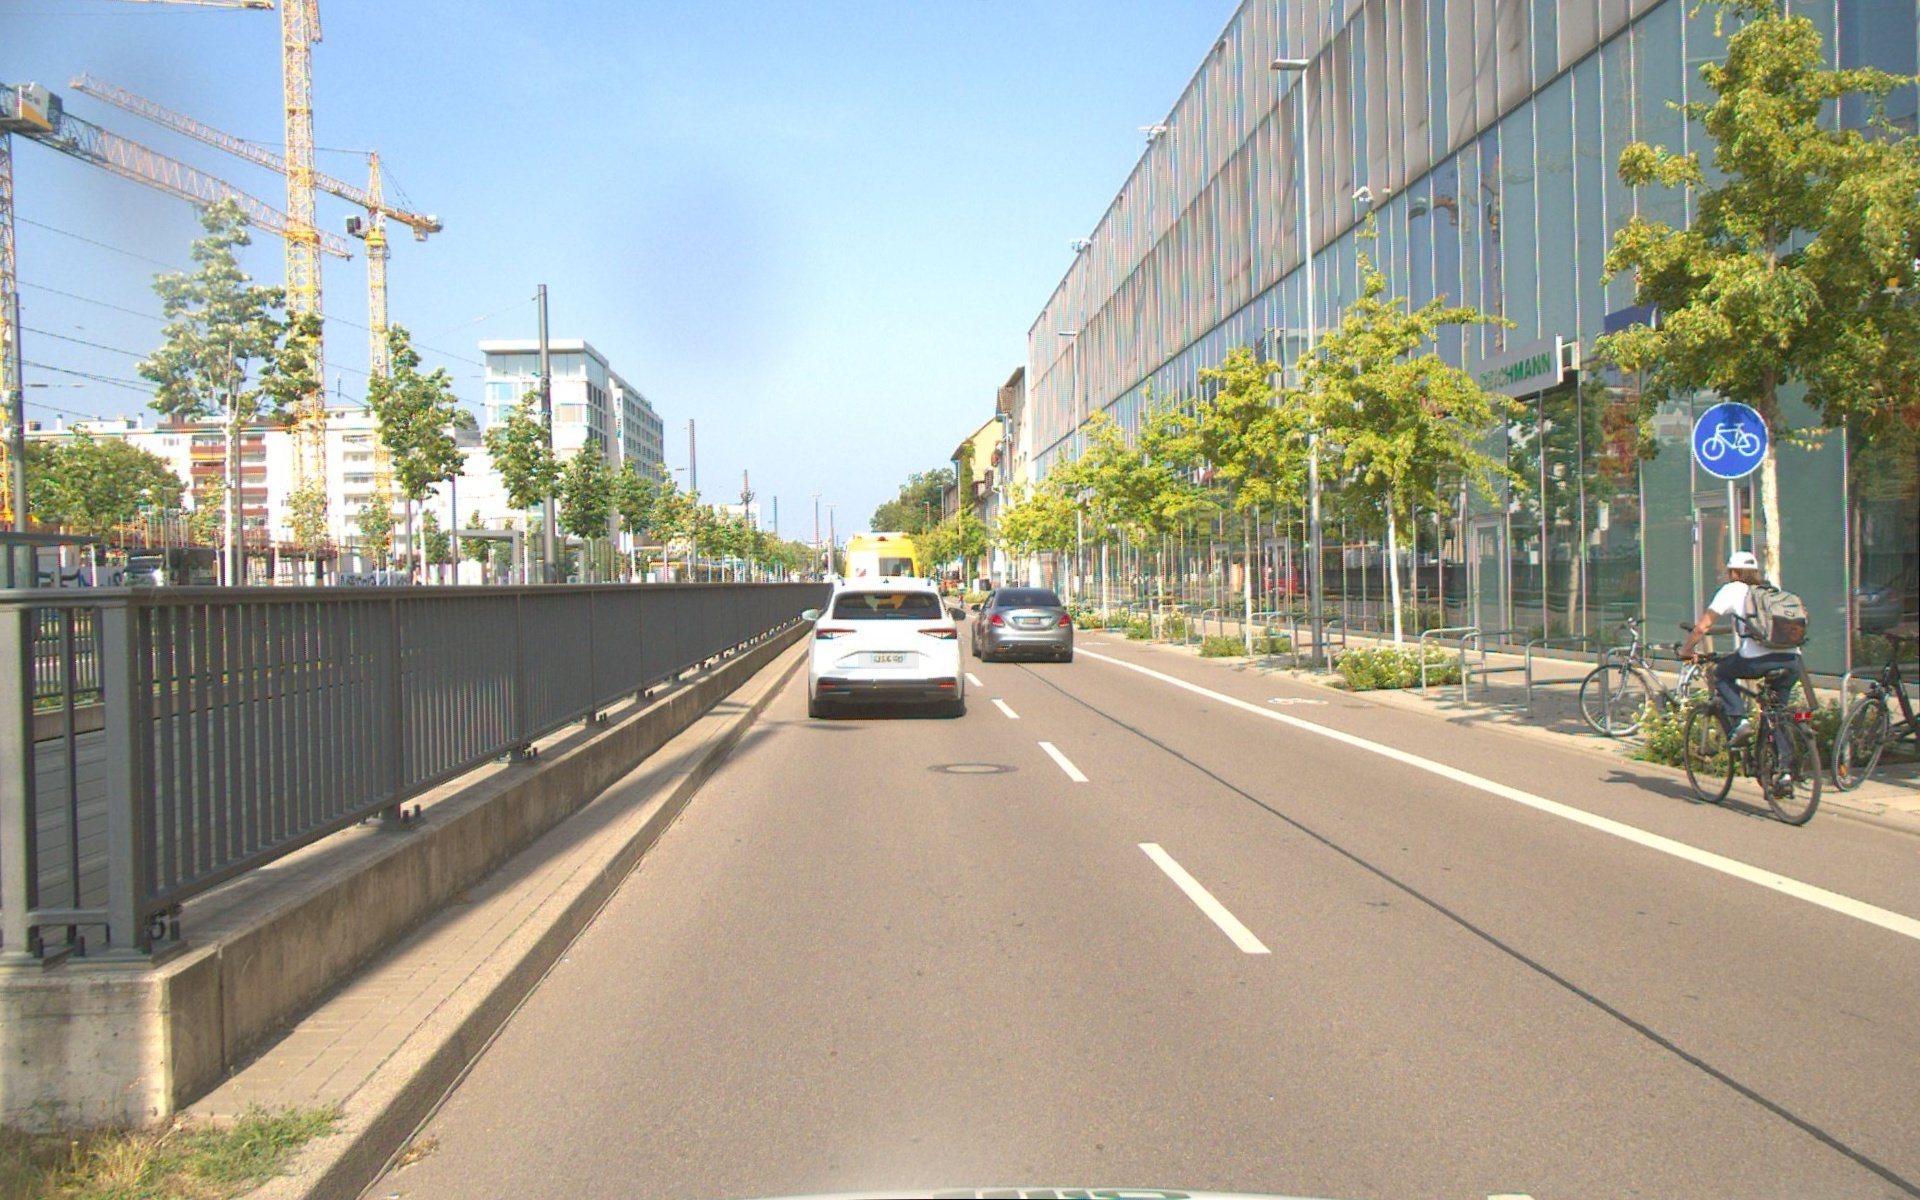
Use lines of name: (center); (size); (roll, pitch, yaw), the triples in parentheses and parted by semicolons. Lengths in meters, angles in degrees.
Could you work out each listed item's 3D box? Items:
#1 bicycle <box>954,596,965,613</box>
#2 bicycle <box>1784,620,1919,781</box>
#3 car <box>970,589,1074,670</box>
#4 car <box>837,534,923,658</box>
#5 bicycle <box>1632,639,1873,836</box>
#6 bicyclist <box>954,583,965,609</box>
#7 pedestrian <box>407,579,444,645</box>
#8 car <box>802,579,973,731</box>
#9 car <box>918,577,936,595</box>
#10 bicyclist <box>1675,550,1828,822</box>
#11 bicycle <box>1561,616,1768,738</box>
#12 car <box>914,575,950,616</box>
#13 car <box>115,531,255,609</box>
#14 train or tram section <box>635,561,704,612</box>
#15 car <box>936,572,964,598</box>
bicycle: (-0.032, 0.271, 102.055); (0.642, 0.955, 1.517); (-1, 1, -1)
bicycle: (7.156, 0.728, 12.225); (1.802, 1.132, 0.687); (0, 1, -1)
car: (1.168, 0.541, 32.861); (1.725, 1.461, 4.113); (0, 1, -3)
car: (-2.025, -0.199, 41.926); (1.980, 2.844, 5.399); (-1, 3, -3)
bicycle: (5.406, 0.888, 11.436); (0.647, 1.137, 2.051); (-2, 1, -1)
bicyclist: (-0.033, -0.245, 101.906); (0.626, 1.604, 0.771); (-1, 1, -1)
pedestrian: (-13.579, 0.295, 42.024); (0.721, 1.647, 0.710); (-1, 0, -4)
car: (-0.888, 0.573, 20.090); (1.832, 1.602, 3.998); (-2, 1, -3)
car: (-3.535, -1.507, 178.679); (1.776, 1.844, 3.833); (-1, 1, -4)
bicyclist: (5.408, 0.563, 11.333); (0.638, 1.779, 0.769); (-2, 1, -1)
bicycle: (6.972, 0.757, 16.398); (1.840, 1.128, 0.490); (-2, 1, -1)
car: (-1.435, -0.236, 84.010); (1.752, 2.049, 3.999); (0, 0, -1)
car: (-37.925, -1.430, 81.341); (2.993, 3.574, 9.227); (-1, 1, -4)
train or tram section: (-22.774, -1.052, 130.861); (2.847, 3.740, 18.130); (0, 0, -2)
car: (-0.864, -1.239, 135.081); (2.022, 2.049, 4.585); (-1, 1, -4)
